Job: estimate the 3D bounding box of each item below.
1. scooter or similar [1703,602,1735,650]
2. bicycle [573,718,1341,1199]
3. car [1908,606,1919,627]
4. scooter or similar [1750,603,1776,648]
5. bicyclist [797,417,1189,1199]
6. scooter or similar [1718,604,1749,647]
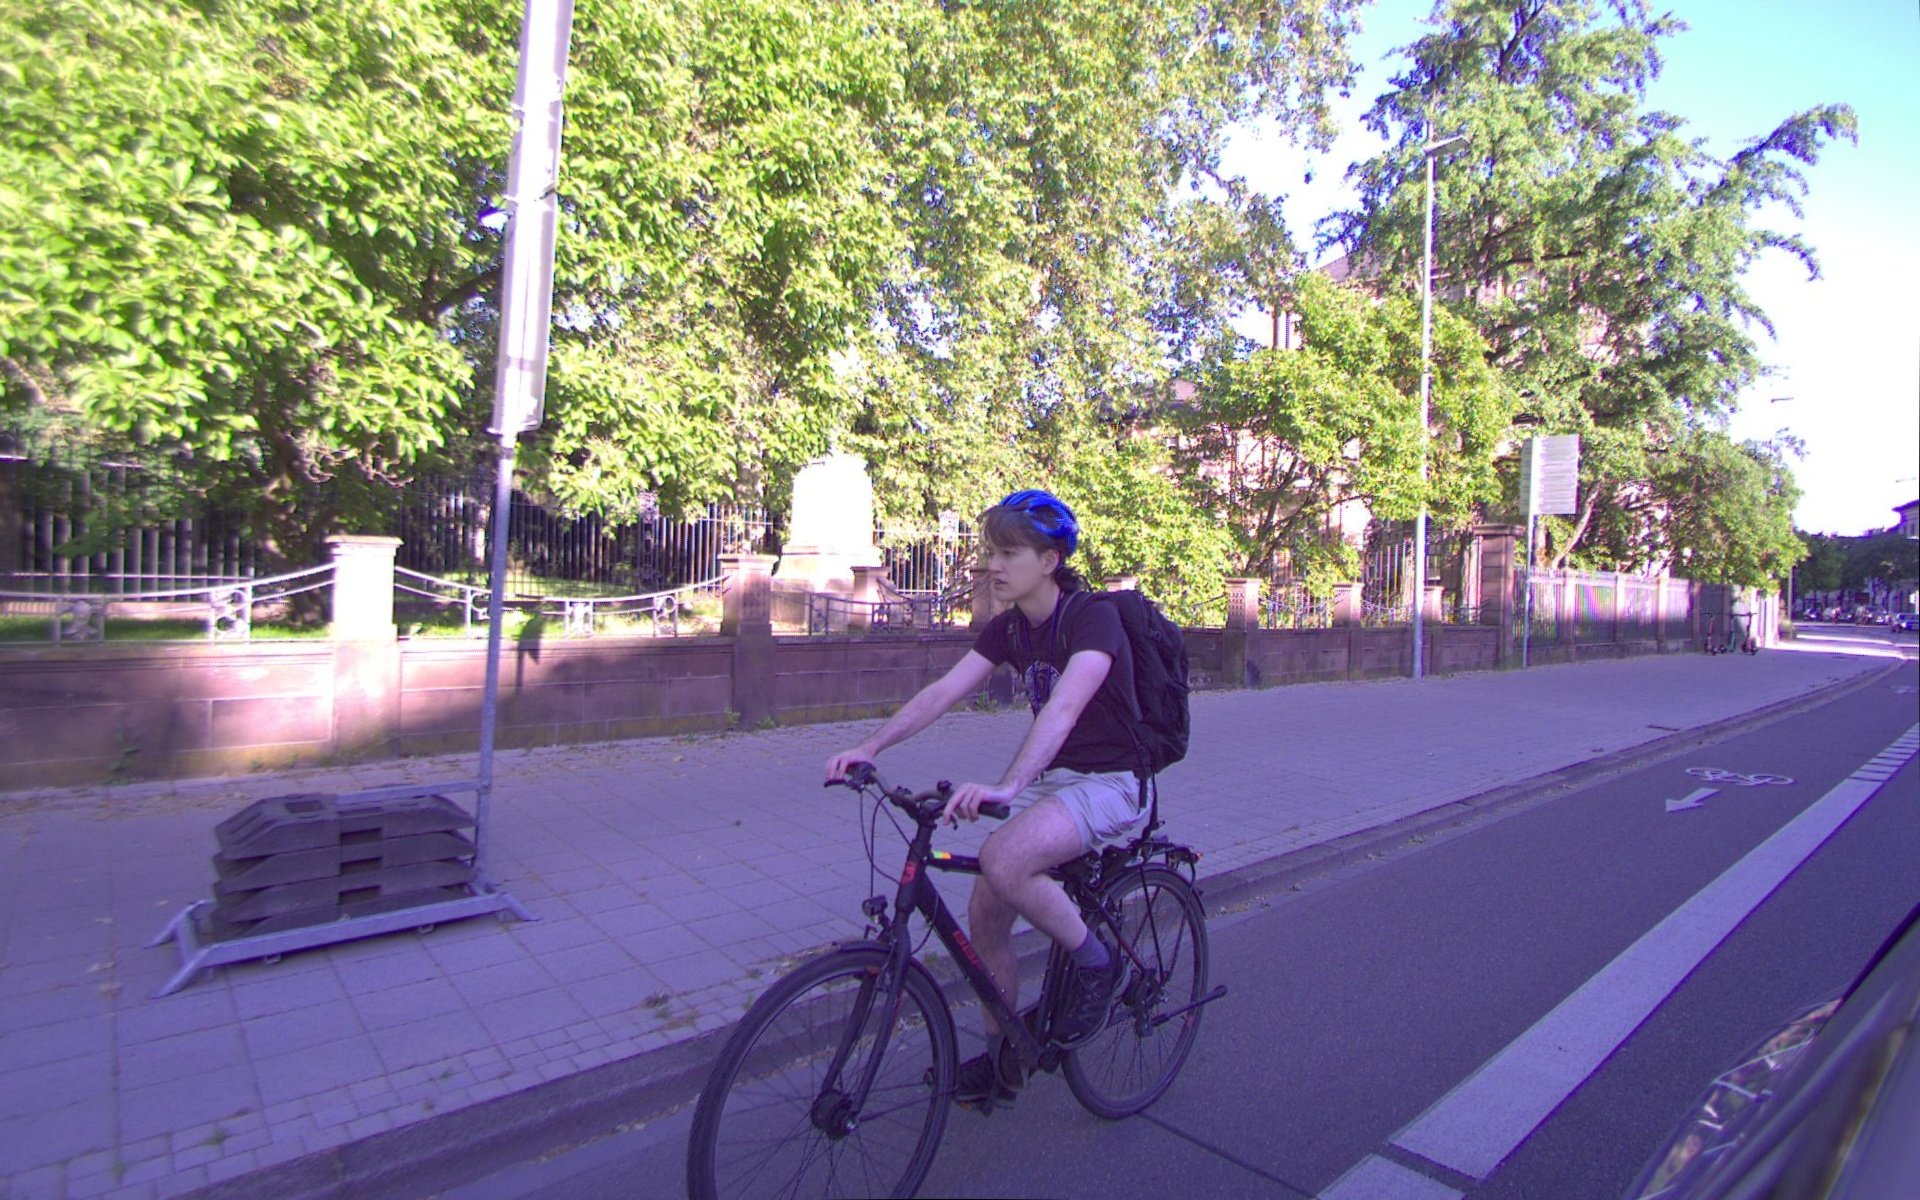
[{"bbox_3d":[20.973,0.703,27.973,0.572,1.269,1.470,2,1,33],"label":"scooter or similar"},{"bbox_3d":[0.159,0.918,2.585,2.045,1.022,0.669,1,0,-42],"label":"bicycle"},{"bbox_3d":[68.143,1.167,71.308,4.194,1.422,1.706,0,2,-44],"label":"car"},{"bbox_3d":[23.424,0.734,29.540,0.514,1.255,1.502,2,1,37],"label":"scooter or similar"},{"bbox_3d":[0.082,0.443,2.516,0.708,1.622,0.666,1,-1,-42],"label":"bicyclist"},{"bbox_3d":[22.323,0.723,29.194,0.574,1.199,1.465,2,1,41],"label":"scooter or similar"}]
